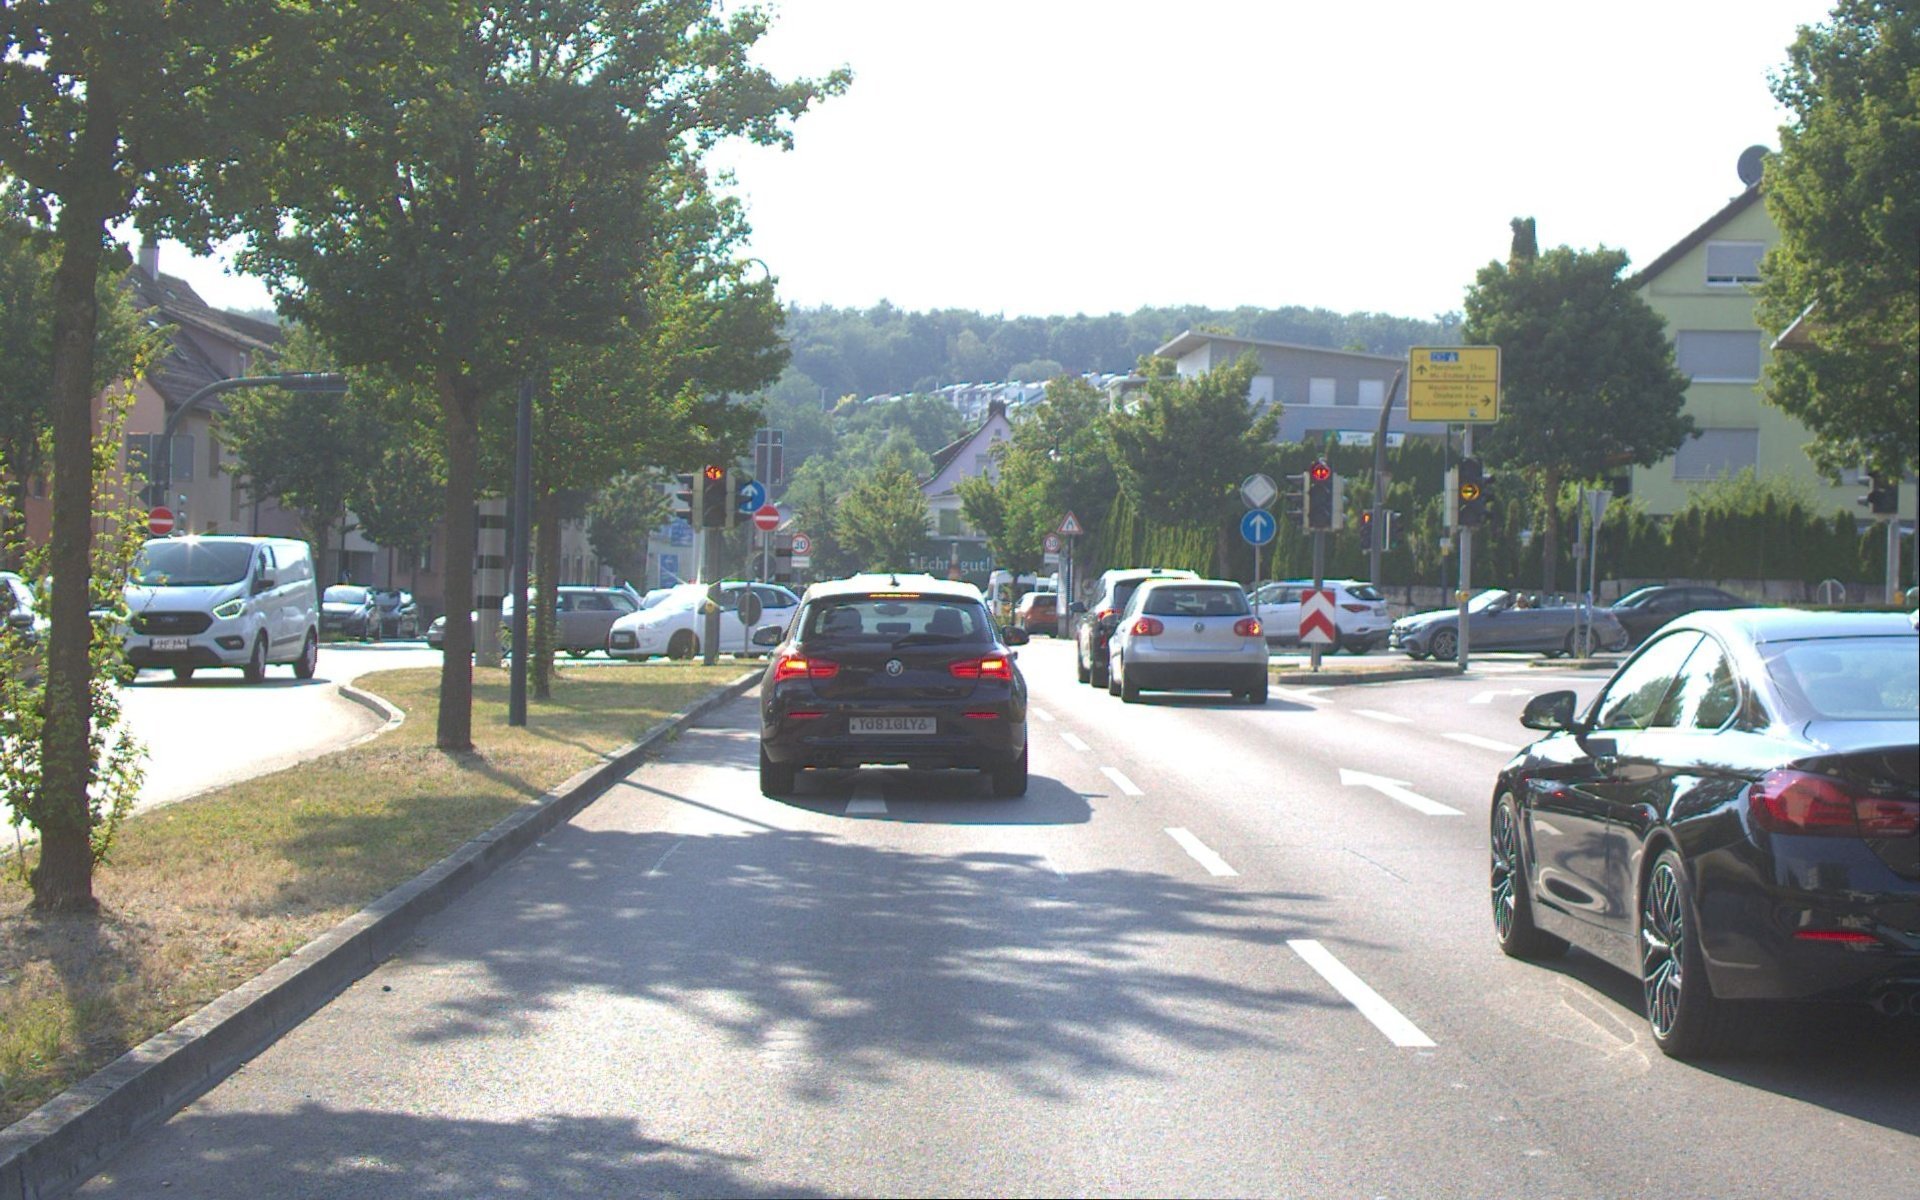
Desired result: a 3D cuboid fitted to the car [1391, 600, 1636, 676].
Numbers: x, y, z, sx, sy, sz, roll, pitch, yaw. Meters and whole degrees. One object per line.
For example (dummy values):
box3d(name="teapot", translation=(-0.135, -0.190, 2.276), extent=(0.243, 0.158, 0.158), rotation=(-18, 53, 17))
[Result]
box3d(name="car", translation=(11.080, 0.753, 68.904), extent=(4.462, 1.344, 1.787), rotation=(1, 4, -10))

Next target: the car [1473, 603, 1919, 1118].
box3d(name="car", translation=(2.976, 0.728, 11.658), extent=(1.816, 1.384, 4.347), rotation=(1, 0, 0))

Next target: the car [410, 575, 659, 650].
box3d(name="car", translation=(-8.554, 0.256, 69.264), extent=(4.696, 1.457, 1.692), rotation=(0, 1, -32))

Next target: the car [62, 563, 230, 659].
box3d(name="car", translation=(-13.352, 0.163, 56.605), extent=(1.807, 1.492, 4.246), rotation=(1, 0, -1))

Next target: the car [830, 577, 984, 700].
box3d(name="car", translation=(-0.621, 0.442, 42.830), extent=(1.816, 1.446, 4.242), rotation=(1, 0, 0))

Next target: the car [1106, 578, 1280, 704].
box3d(name="car", translation=(2.795, 0.466, 42.048), extent=(1.816, 1.441, 4.347), rotation=(1, 0, 0))

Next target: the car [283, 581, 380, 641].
box3d(name="car", translation=(-17.384, 0.287, 95.267), extent=(1.924, 1.590, 4.000), rotation=(1, 0, 0))

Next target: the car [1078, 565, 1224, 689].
box3d(name="car", translation=(2.653, 0.354, 48.604), extent=(1.816, 1.660, 4.347), rotation=(1, 0, 0))

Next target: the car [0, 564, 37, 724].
box3d(name="car", translation=(-9.674, 0.385, 31.762), extent=(1.768, 1.446, 4.109), rotation=(1, 0, -9))

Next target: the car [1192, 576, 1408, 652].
box3d(name="car", translation=(7.755, 0.315, 78.443), extent=(4.517, 1.696, 1.893), rotation=(0, 0, 31))

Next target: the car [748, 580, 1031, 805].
box3d(name="car", translation=(-0.446, 0.578, 24.066), extent=(1.790, 1.410, 4.347), rotation=(1, 0, 0))

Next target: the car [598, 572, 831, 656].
box3d(name="car", translation=(-4.530, 0.257, 63.621), extent=(3.943, 1.492, 1.807), rotation=(1, 0, -37))

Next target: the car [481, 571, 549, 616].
box3d(name="car", translation=(-16.192, -0.251, 125.332), extent=(1.924, 1.590, 4.000), rotation=(1, 0, 0))

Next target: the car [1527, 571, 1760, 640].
box3d(name="car", translation=(14.814, 0.106, 74.662), extent=(4.628, 1.417, 1.849), rotation=(1, 0, -2))

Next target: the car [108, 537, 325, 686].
box3d(name="car", translation=(-10.100, 0.133, 47.055), extent=(1.823, 1.917, 4.944), rotation=(1, 0, 1))
